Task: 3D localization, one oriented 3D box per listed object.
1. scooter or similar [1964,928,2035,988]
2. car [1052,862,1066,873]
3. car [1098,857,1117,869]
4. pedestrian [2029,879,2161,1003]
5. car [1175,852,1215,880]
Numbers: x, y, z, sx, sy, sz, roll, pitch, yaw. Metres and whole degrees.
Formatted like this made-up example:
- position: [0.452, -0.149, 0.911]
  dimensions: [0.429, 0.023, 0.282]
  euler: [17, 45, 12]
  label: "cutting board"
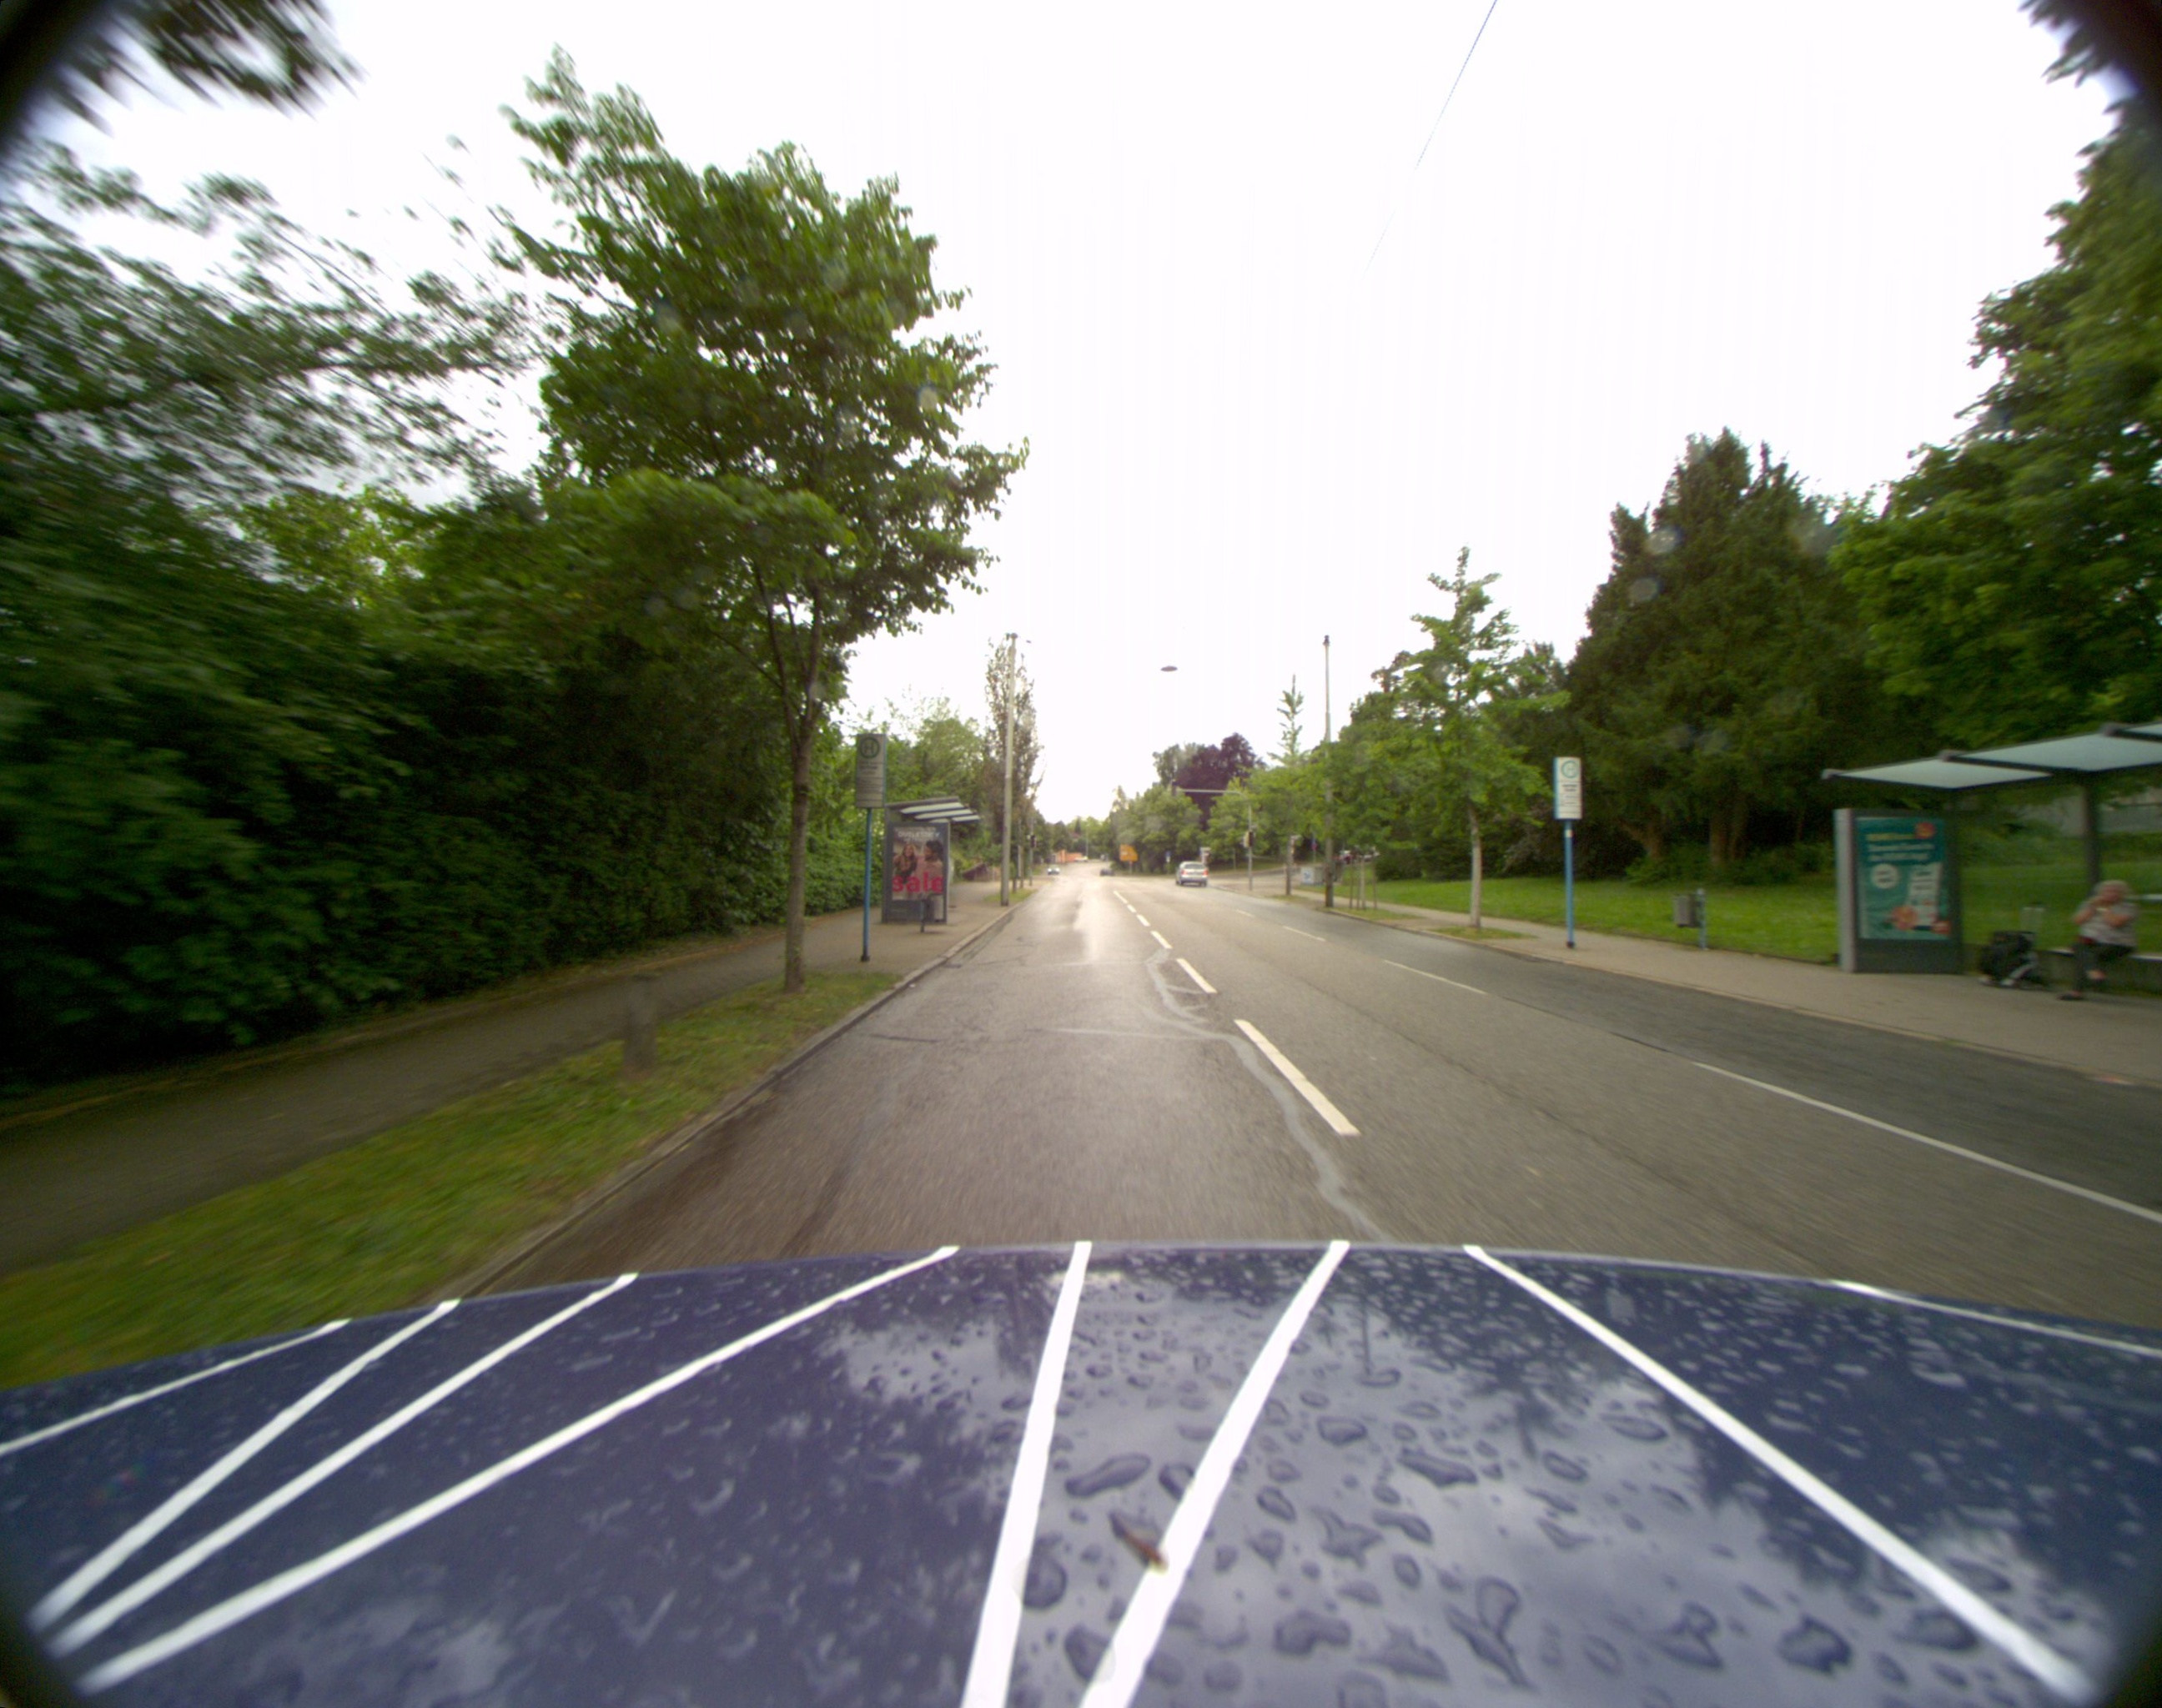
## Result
- position: [11.344, 1.276, 9.394]
  dimensions: [0.247, 0.662, 0.533]
  euler: [-3, 1, 5]
  label: "scooter or similar"
- position: [-3.798, 2.366, 130.306]
  dimensions: [1.998, 1.674, 4.000]
  euler: [-3, 0, 3]
  label: "car"
- position: [3.898, 1.371, 112.357]
  dimensions: [1.878, 1.540, 3.995]
  euler: [2, 1, -10]
  label: "car"
- position: [11.490, 0.949, 8.519]
  dimensions: [0.777, 1.293, 0.744]
  euler: [-1, 1, 8]
  label: "pedestrian"
- position: [6.950, 0.710, 46.620]
  dimensions: [1.876, 1.540, 4.000]
  euler: [2, 0, 1]
  label: "car"
